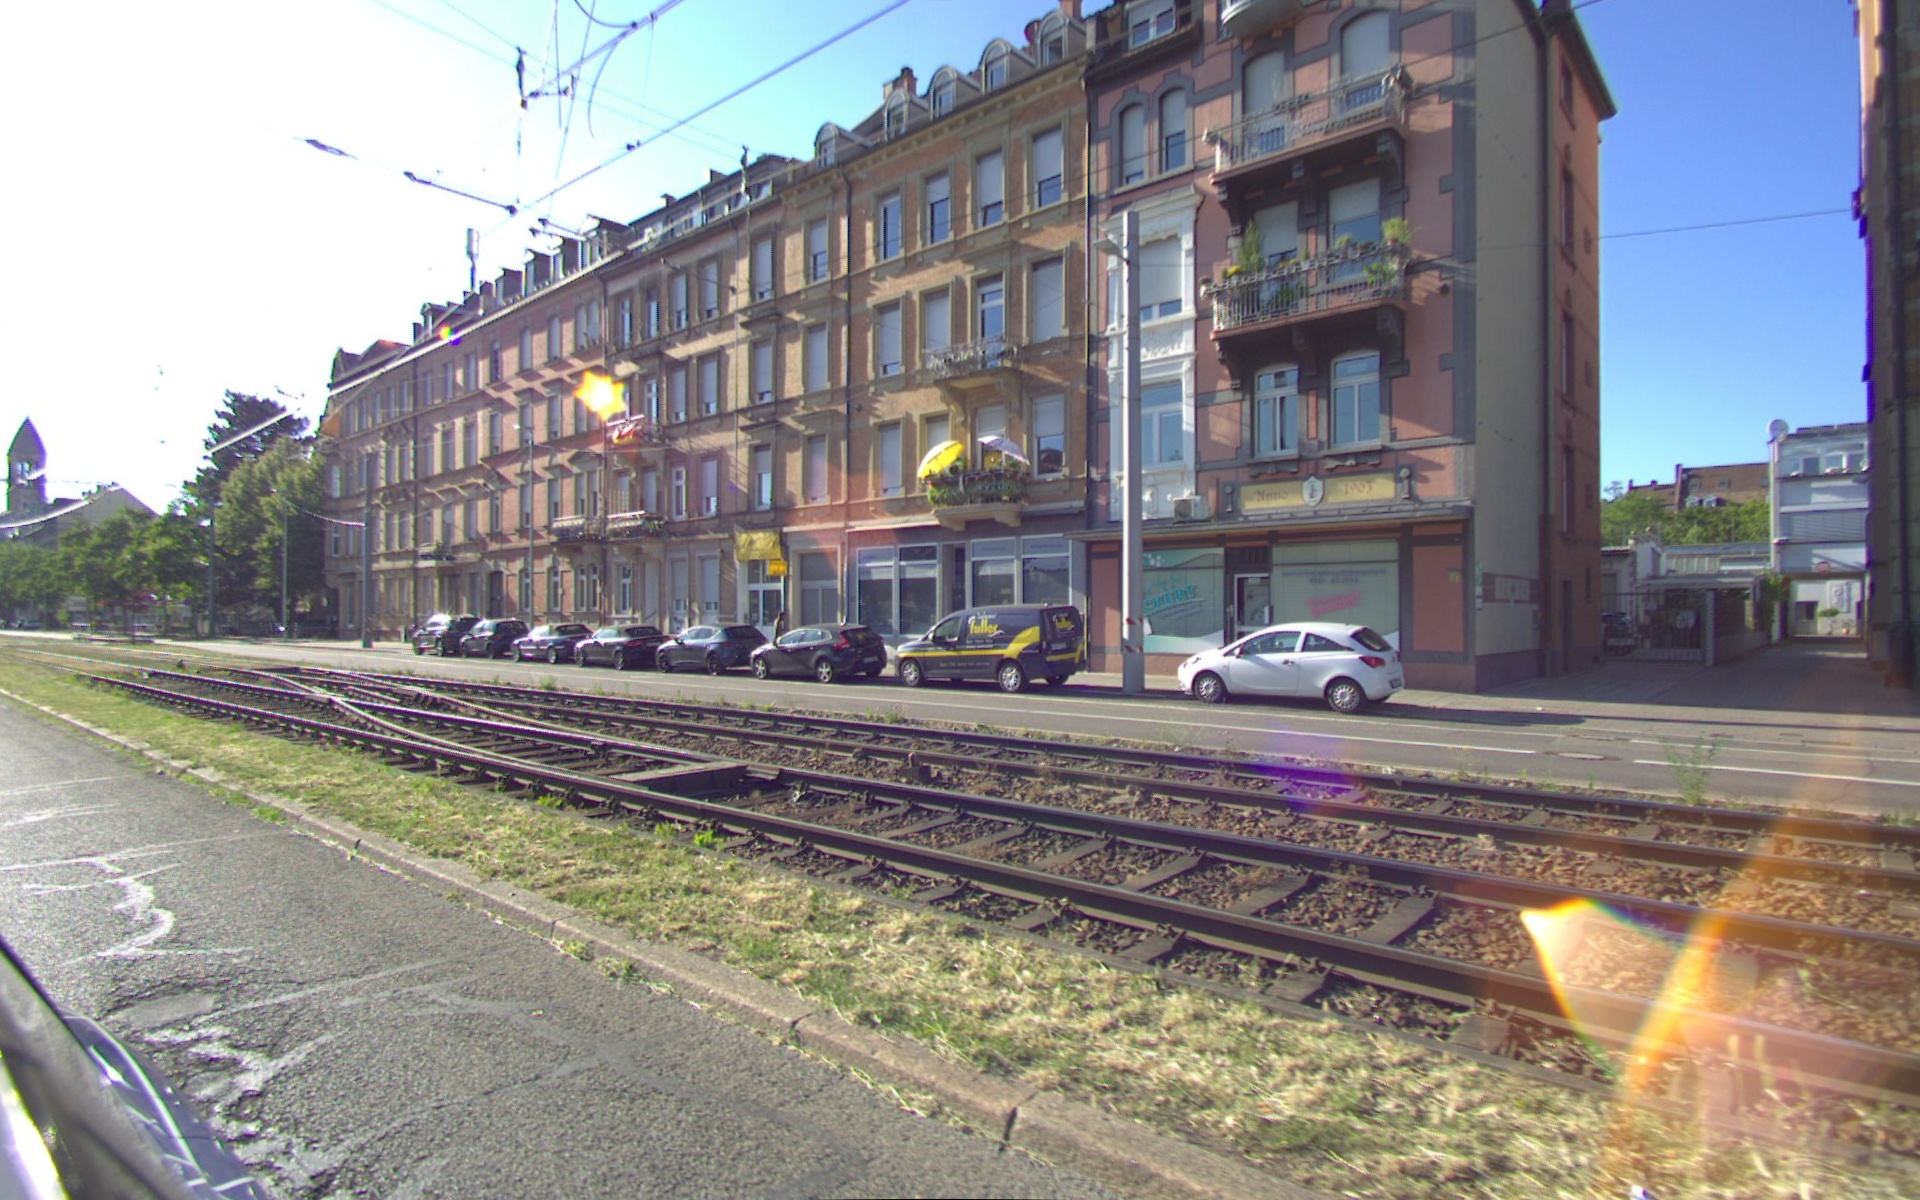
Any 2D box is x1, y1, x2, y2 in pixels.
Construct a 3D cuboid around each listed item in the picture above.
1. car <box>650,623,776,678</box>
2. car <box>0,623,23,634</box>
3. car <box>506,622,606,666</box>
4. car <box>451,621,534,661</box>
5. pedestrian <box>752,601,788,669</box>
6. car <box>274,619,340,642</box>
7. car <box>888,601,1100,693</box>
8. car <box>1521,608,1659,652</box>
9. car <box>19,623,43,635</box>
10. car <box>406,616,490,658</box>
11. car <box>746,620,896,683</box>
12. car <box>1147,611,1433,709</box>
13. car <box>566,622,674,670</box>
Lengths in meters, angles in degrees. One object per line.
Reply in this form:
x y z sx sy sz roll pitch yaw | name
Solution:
-7.348 1.450 29.949 3.979 1.456 1.642 -1 0 42 | car
-129.340 3.906 137.960 3.997 1.522 1.776 -1 -2 40 | car
-14.700 1.541 36.719 4.195 1.456 1.642 -1 0 42 | car
-18.706 1.598 40.433 3.764 1.456 1.642 -1 0 42 | car
-5.798 1.053 30.938 0.868 2.029 0.634 -1 1 12 | pedestrian
-48.486 2.236 75.237 3.931 1.521 1.806 -1 1 -27 | car
0.668 0.987 22.667 4.725 1.821 1.643 -1 0 40 | car
22.937 1.084 37.037 1.769 1.522 4.013 1 -2 -21 | car
-121.104 3.764 131.894 3.997 1.522 1.776 -1 -2 40 | car
-21.934 1.548 43.270 4.632 1.655 1.774 -1 0 44 | car
-3.646 1.267 26.188 3.979 1.456 1.642 -1 0 42 | car
5.963 1.011 18.602 4.624 1.550 1.901 -1 0 41 | car
-11.336 1.485 33.607 3.979 1.456 1.642 -1 0 42 | car
